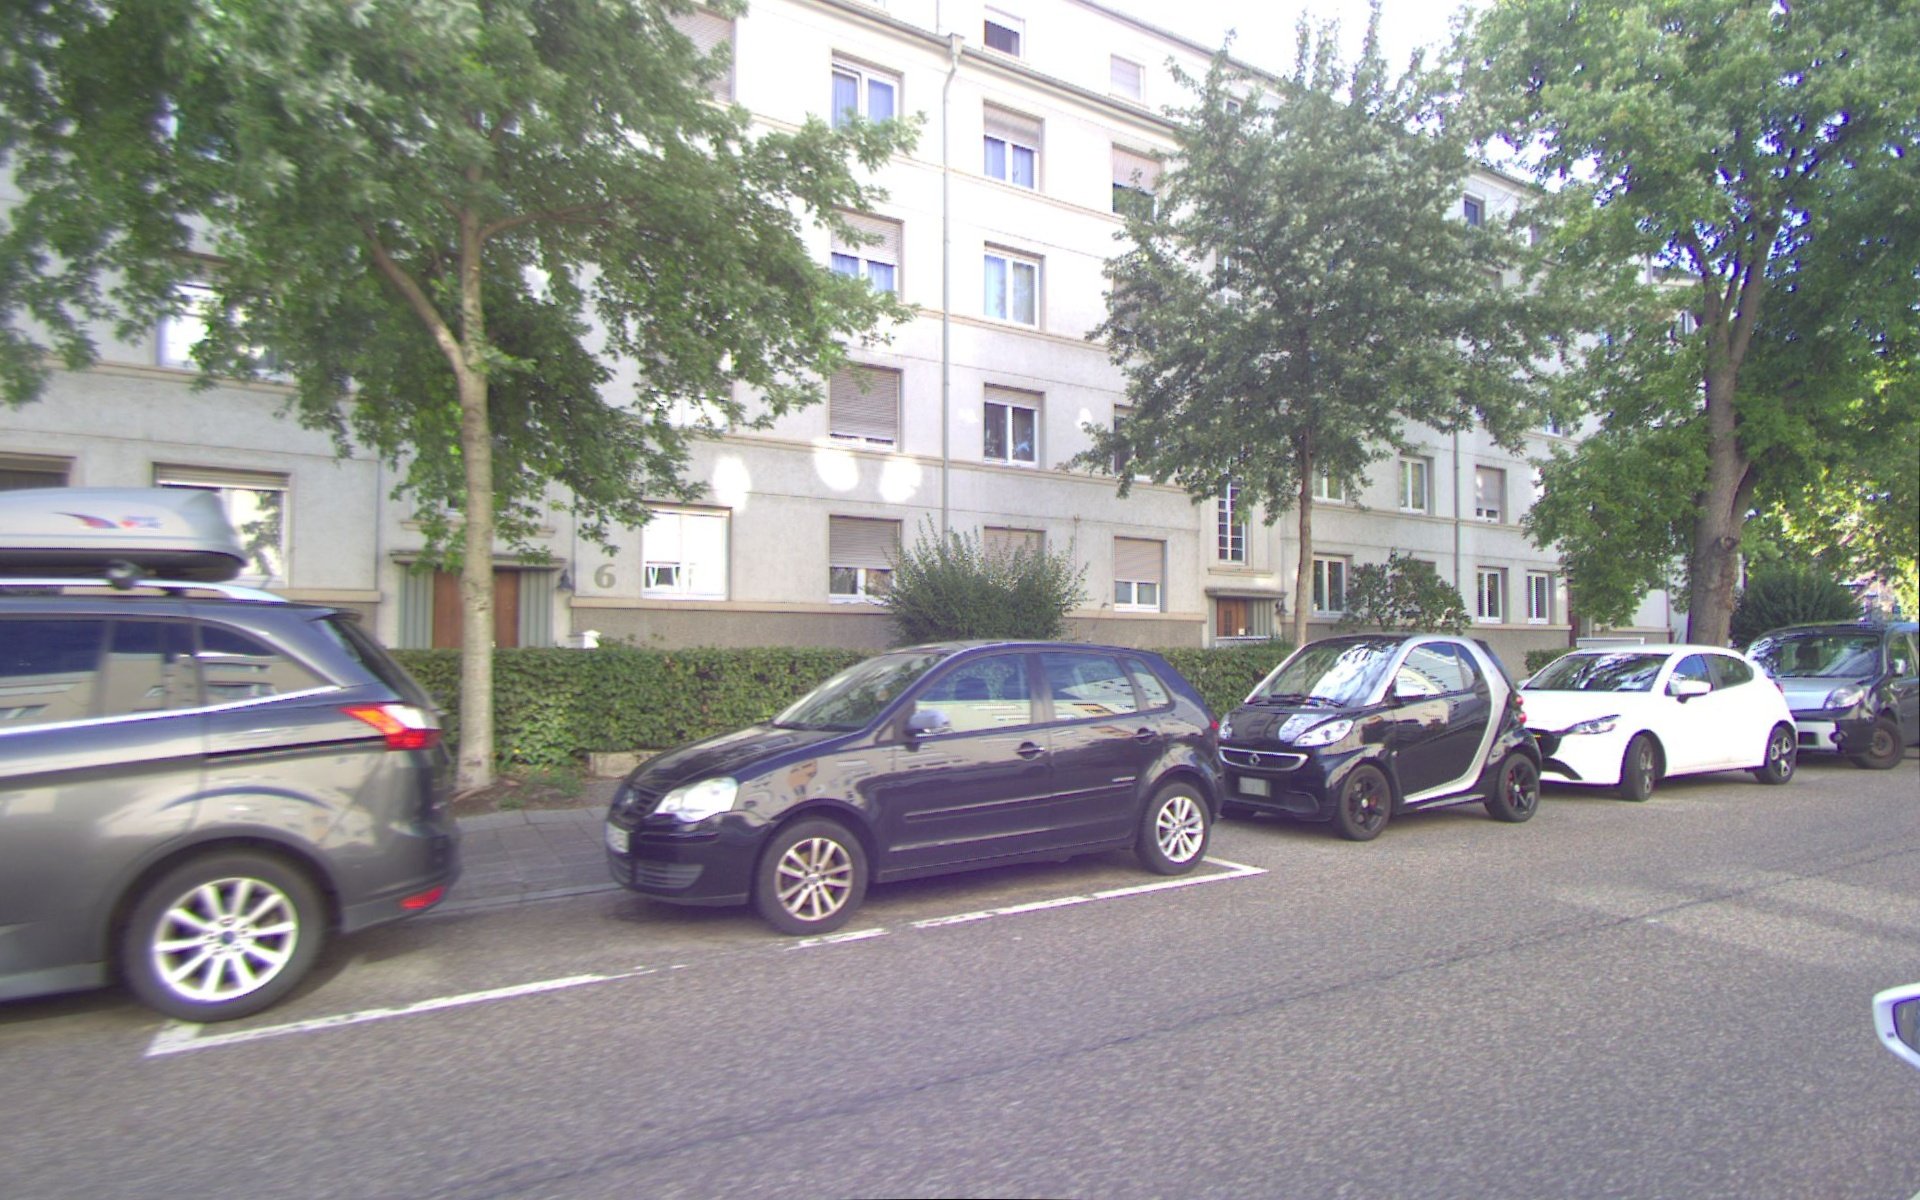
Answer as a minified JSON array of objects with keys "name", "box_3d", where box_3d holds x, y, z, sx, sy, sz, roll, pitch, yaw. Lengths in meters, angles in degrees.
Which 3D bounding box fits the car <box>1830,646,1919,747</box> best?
[{"name":"car","box_3d":[15.991,1.511,16.162,3.757,1.512,1.792,2,-5,-30]}]

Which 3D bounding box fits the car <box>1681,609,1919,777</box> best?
[{"name":"car","box_3d":[11.566,1.175,13.295,4.144,1.906,1.715,2,-5,-31]}]

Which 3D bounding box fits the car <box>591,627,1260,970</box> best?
[{"name":"car","box_3d":[-0.121,0.997,6.215,3.806,1.506,1.691,2,-6,-33]}]

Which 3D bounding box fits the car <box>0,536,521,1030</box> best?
[{"name":"car","box_3d":[-4.233,0.681,3.961,4.429,1.689,1.792,2,-5,-30]}]

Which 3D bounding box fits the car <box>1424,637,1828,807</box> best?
[{"name":"car","box_3d":[7.157,1.189,10.735,4.277,1.512,1.689,1,-4,-27]}]

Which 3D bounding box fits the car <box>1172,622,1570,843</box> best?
[{"name":"car","box_3d":[3.465,1.026,8.460,2.980,1.539,1.547,1,-5,-29]}]
